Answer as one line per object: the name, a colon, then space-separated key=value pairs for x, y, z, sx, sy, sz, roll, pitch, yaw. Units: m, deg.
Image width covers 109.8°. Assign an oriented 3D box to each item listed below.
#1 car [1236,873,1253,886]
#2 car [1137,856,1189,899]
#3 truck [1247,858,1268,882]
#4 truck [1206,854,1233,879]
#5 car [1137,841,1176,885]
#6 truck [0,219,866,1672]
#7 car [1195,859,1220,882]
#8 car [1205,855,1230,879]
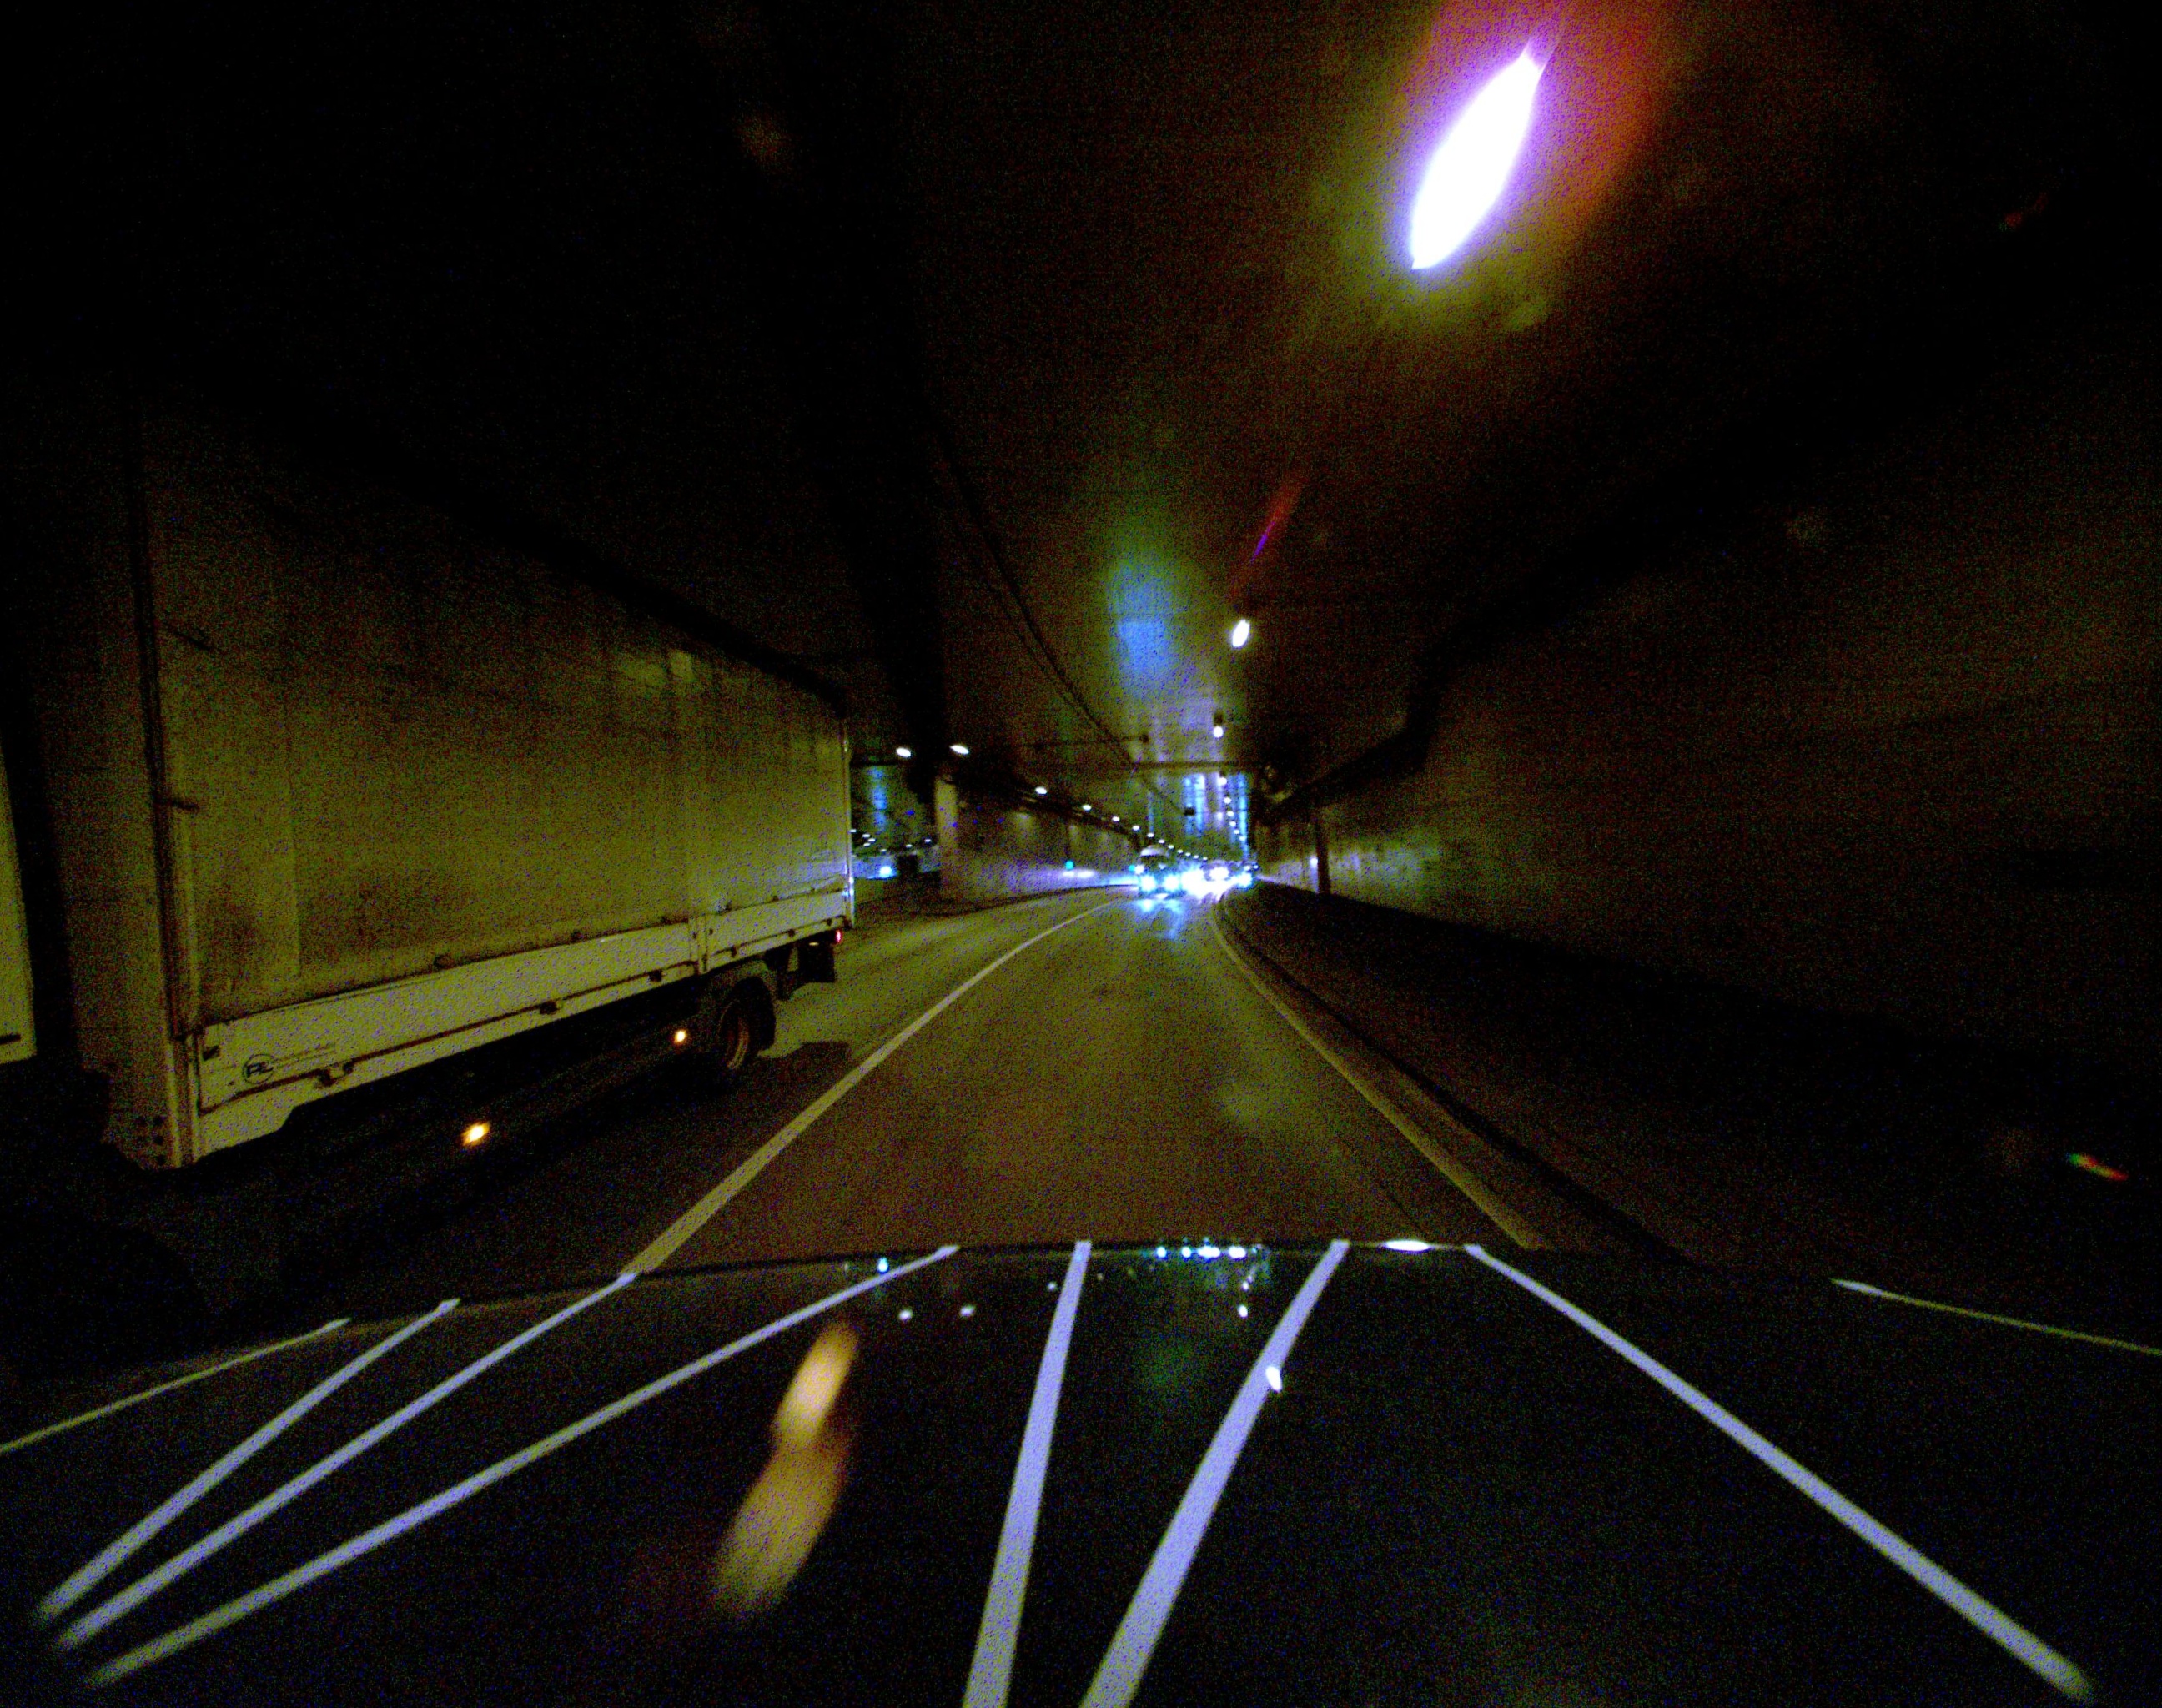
car: x=25.708 y=4.029 z=119.645 sx=1.948 sy=1.525 sz=4.005 roll=-5 pitch=0 yaw=21
car: x=3.266 y=0.879 z=29.634 sx=1.638 sy=1.551 sz=3.720 roll=-2 pitch=-1 yaw=11
truck: x=36.943 y=3.311 z=158.538 sx=2.883 sy=4.445 sz=10.466 roll=-5 pitch=0 yaw=19
truck: x=15.781 y=1.367 z=86.117 sx=2.072 sy=2.524 sz=6.030 roll=-5 pitch=0 yaw=18
car: x=5.619 y=0.765 z=55.998 sx=2.105 sy=2.829 sz=6.871 roll=-2 pitch=-3 yaw=11
truck: x=-3.554 y=0.185 z=3.705 sx=2.559 sy=3.163 sz=7.245 roll=-2 pitch=1 yaw=2
car: x=9.816 y=1.261 z=59.088 sx=1.763 sy=1.551 sz=3.821 roll=-4 pitch=-1 yaw=8
car: x=12.845 y=1.265 z=71.375 sx=1.933 sy=1.917 sz=4.203 roll=-4 pitch=-4 yaw=14
